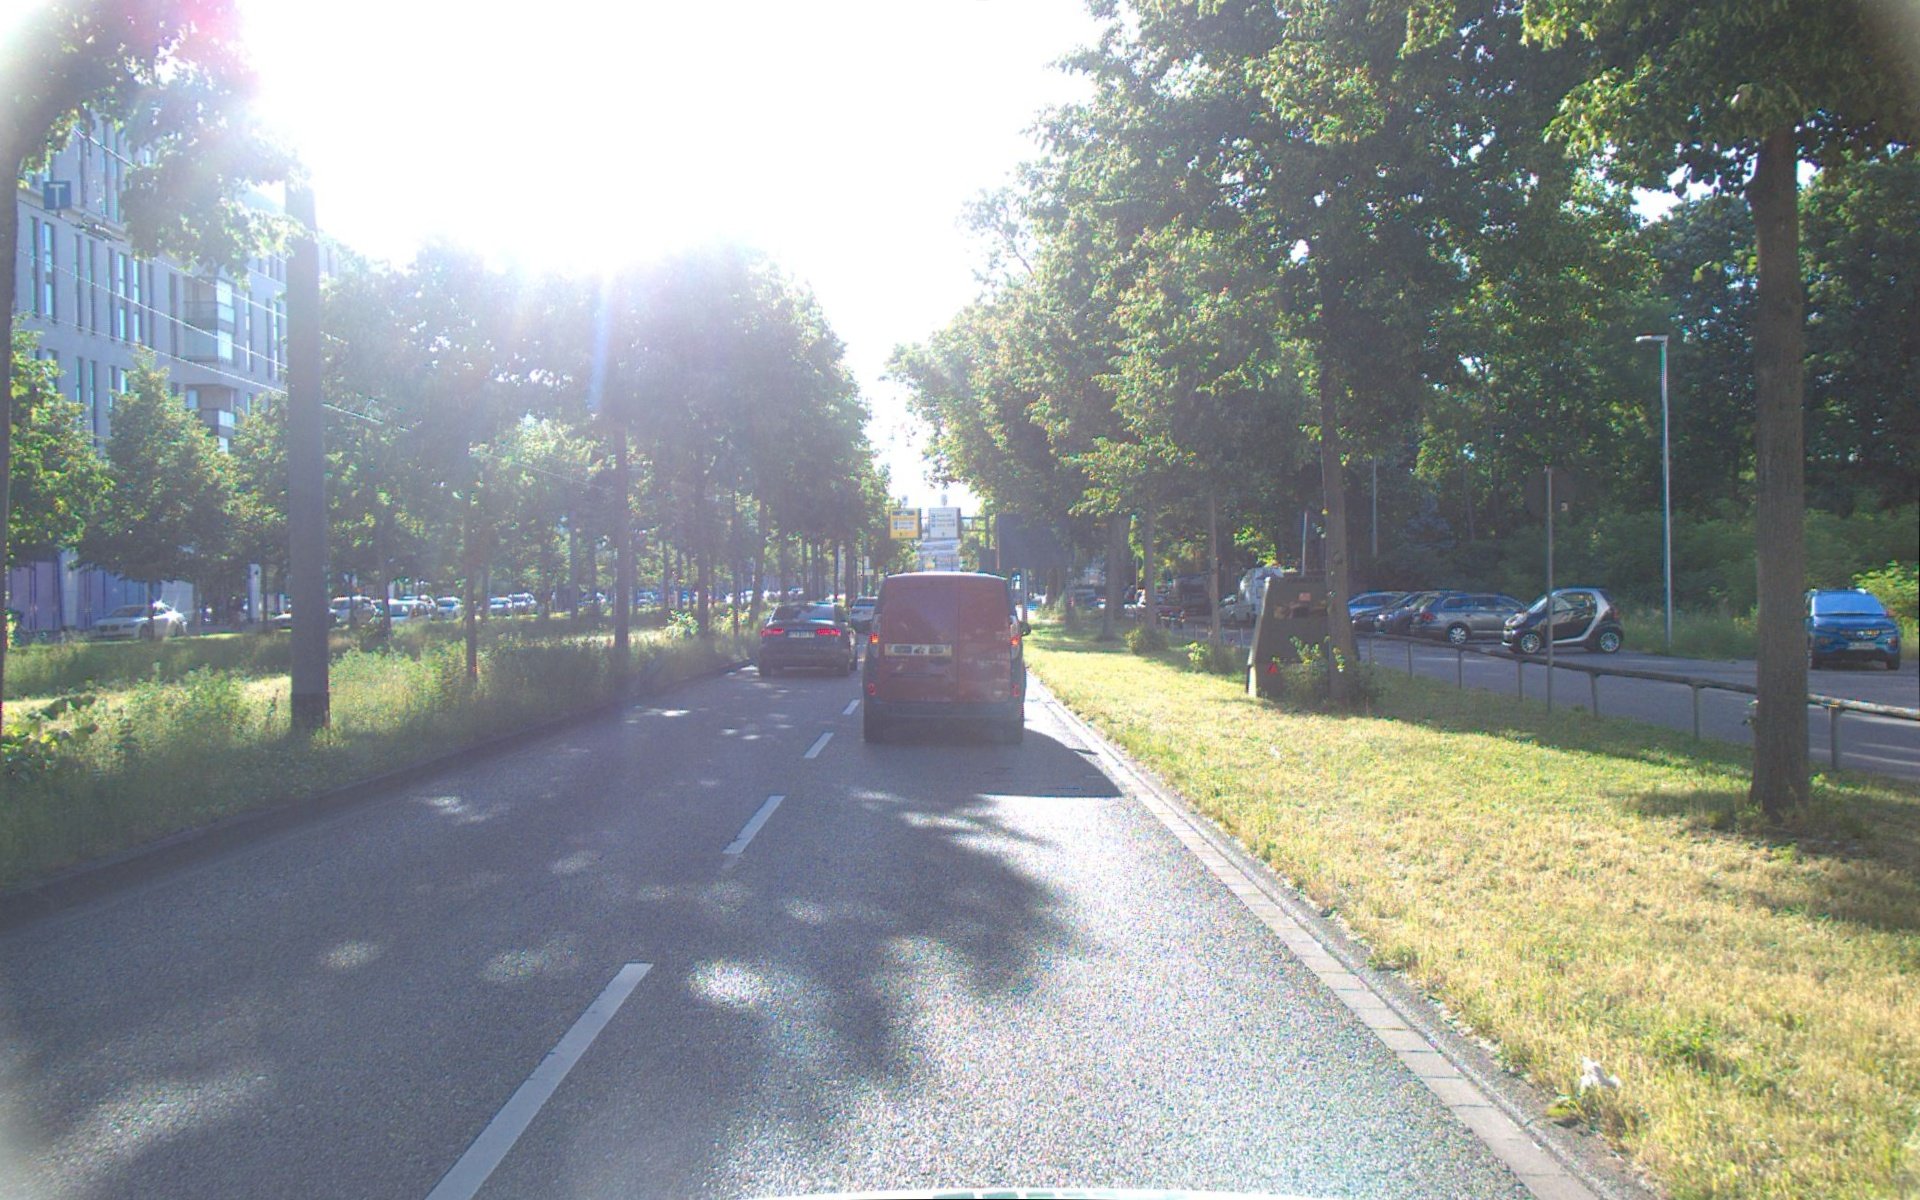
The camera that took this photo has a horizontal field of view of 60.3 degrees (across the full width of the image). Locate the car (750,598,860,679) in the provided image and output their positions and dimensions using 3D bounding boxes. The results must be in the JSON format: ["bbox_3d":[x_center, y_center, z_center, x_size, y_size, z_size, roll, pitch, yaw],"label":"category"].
[{"bbox_3d":[-2.967,0.713,32.355,1.755,1.453,4.000,1,0,0],"label":"car"}]

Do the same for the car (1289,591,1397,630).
[{"bbox_3d":[15.499,0.435,67.046,3.910,1.531,1.763,0,0,-7],"label":"car"}]

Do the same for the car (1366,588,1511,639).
[{"bbox_3d":[15.396,0.427,53.344,4.108,1.524,1.781,-1,0,-4],"label":"car"}]

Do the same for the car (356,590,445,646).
[{"bbox_3d":[-21.735,0.685,64.400,1.952,2.049,4.001,1,0,2],"label":"car"}]

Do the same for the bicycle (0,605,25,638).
[{"bbox_3d":[-38.378,0.878,66.590,0.586,1.303,1.607,1,0,-3],"label":"bicycle"}]

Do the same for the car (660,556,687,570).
[{"bbox_3d":[-29.349,-3.773,169.351,1.873,1.348,4.611,1,0,1],"label":"car"}]

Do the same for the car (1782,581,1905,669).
[{"bbox_3d":[17.738,0.469,33.342,1.560,1.572,3.821,-1,1,19],"label":"car"}]

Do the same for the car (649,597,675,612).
[{"bbox_3d":[-32.615,0.510,181.310,1.952,1.636,4.611,1,0,1],"label":"car"}]

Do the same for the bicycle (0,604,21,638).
[{"bbox_3d":[-38.152,0.793,64.362,2.733,1.303,0.940,1,-1,-30],"label":"bicycle"}]

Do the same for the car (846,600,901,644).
[{"bbox_3d":[-3.423,0.853,65.990,1.953,1.646,4.000,1,0,0],"label":"car"}]

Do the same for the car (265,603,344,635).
[{"bbox_3d":[-31.600,0.903,79.872,1.953,1.466,4.778,1,0,-1],"label":"car"}]

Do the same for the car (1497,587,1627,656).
[{"bbox_3d":[14.634,0.513,40.298,2.707,1.577,1.463,-2,-1,9],"label":"car"}]

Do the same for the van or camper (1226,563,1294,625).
[{"bbox_3d":[14.290,-0.282,79.060,1.954,2.778,4.961,-3,0,-3],"label":"van or camper"}]

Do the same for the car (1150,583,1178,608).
[{"bbox_3d":[16.834,-0.346,136.873,2.043,2.049,4.945,0,0,4],"label":"car"}]

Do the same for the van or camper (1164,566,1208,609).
[{"bbox_3d":[15.565,-0.880,114.281,2.503,2.731,6.568,-3,0,4],"label":"van or camper"}]

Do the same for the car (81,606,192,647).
[{"bbox_3d":[-31.442,0.997,63.340,1.954,1.466,4.922,1,0,-3],"label":"car"}]

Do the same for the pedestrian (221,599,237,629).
[{"bbox_3d":[-41.661,0.792,94.248,0.623,1.680,0.719,1,-1,-8],"label":"pedestrian"}]

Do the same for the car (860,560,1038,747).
[{"bbox_3d":[-0.219,0.555,18.815,1.772,1.870,3.997,1,0,-3],"label":"car"}]

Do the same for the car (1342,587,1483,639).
[{"bbox_3d":[15.406,0.426,56.437,4.243,1.503,1.905,-3,1,-4],"label":"car"}]

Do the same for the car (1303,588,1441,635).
[{"bbox_3d":[15.499,0.434,62.343,4.624,1.430,2.000,-4,0,0],"label":"car"}]

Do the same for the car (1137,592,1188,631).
[{"bbox_3d":[9.035,0.527,74.042,1.952,1.668,4.001,1,0,3],"label":"car"}]

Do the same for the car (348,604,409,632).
[{"bbox_3d":[-31.742,0.963,90.411,1.954,1.466,4.453,1,0,-3],"label":"car"}]

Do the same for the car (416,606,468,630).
[{"bbox_3d":[-32.128,1.109,102.677,1.954,1.466,4.453,1,0,-3],"label":"car"}]

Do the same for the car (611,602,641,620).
[{"bbox_3d":[-32.173,1.040,159.456,1.840,1.649,4.611,1,0,1],"label":"car"}]

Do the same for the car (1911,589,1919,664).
[{"bbox_3d":[20.357,0.555,32.877,1.710,1.563,3.883,1,0,18],"label":"car"}]

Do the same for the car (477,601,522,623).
[{"bbox_3d":[-31.725,0.808,114.001,1.918,1.466,4.265,1,0,0],"label":"car"}]

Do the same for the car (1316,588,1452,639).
[{"bbox_3d":[15.185,0.474,59.402,4.290,1.435,2.001,-5,0,2],"label":"car"}]

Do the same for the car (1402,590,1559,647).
[{"bbox_3d":[15.042,0.533,47.943,3.996,1.493,1.715,-2,0,0],"label":"car"}]

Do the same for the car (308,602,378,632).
[{"bbox_3d":[-31.531,0.873,84.652,1.953,1.466,4.455,1,0,-1],"label":"car"}]
